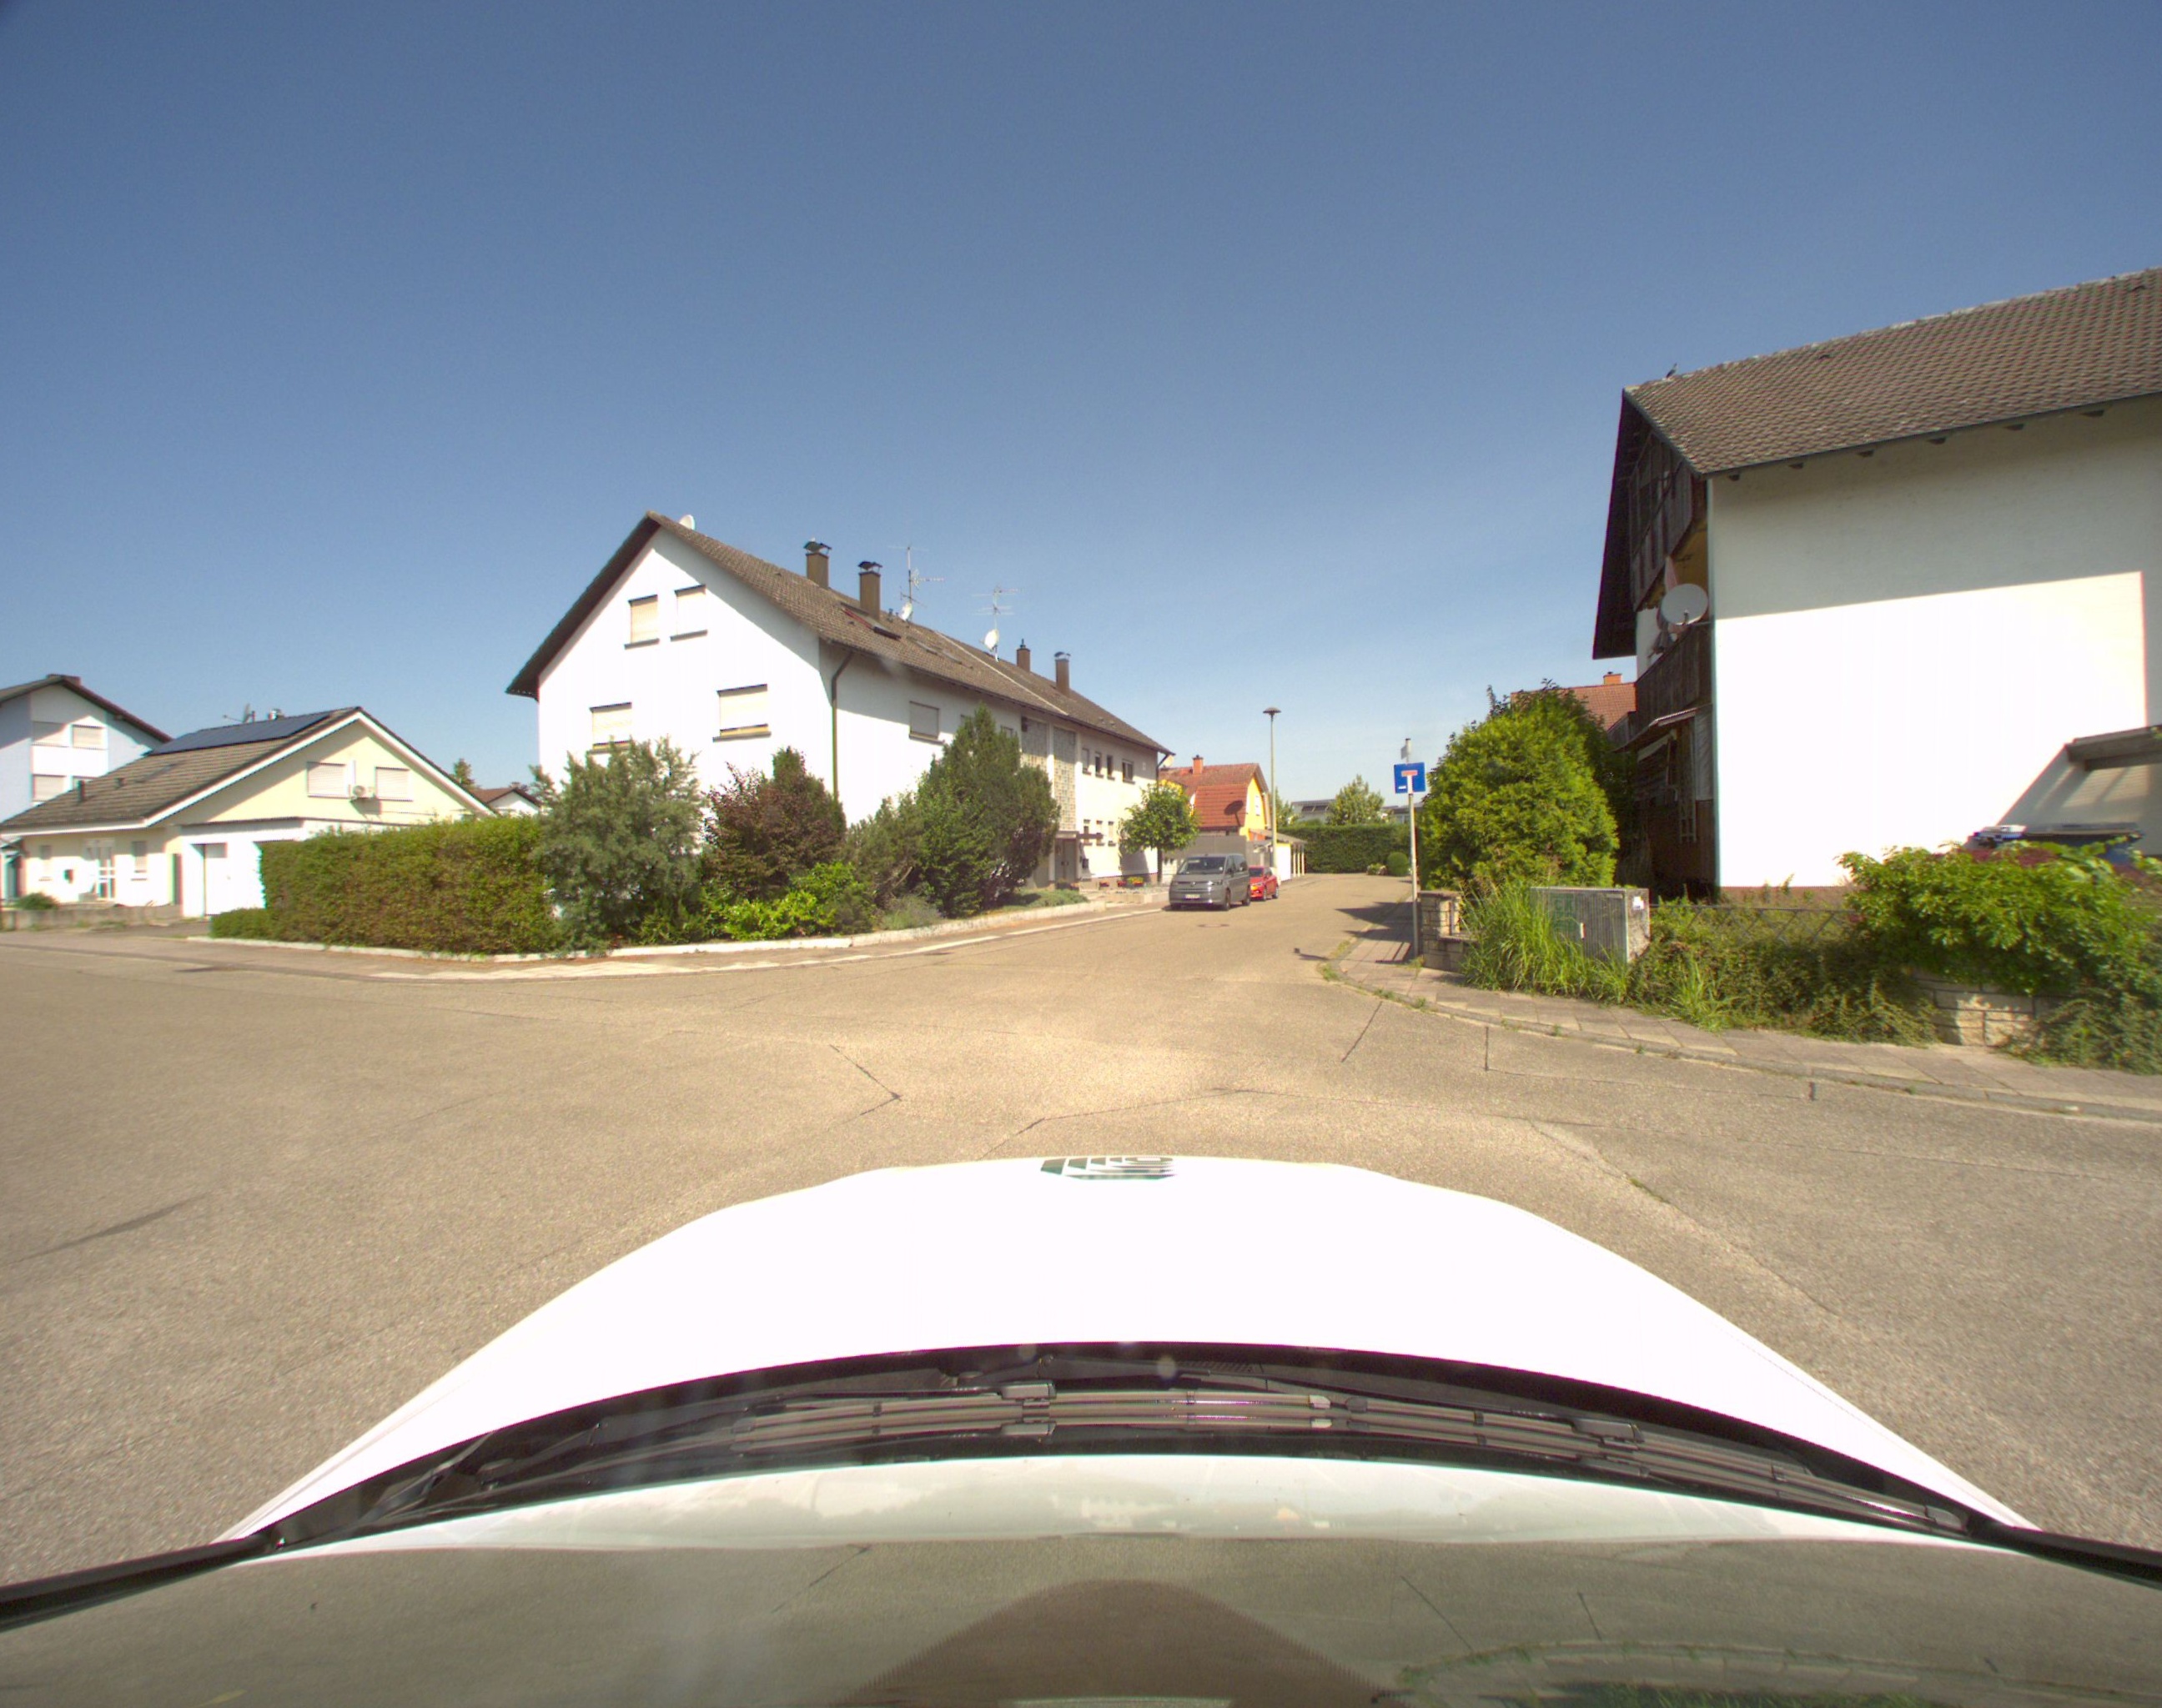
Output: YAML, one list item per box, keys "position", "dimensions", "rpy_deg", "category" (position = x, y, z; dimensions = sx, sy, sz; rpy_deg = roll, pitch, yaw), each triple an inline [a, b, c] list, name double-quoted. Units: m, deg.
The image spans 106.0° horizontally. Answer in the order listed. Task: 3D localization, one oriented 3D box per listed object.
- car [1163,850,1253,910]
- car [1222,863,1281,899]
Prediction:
- position: [4.479, 0.816, 28.158]
  dimensions: [1.883, 1.869, 4.397]
  rpy_deg: [0, 0, 26]
  category: "car"
- position: [7.187, 1.114, 34.101]
  dimensions: [1.637, 1.365, 3.800]
  rpy_deg: [-1, 0, 23]
  category: "car"
